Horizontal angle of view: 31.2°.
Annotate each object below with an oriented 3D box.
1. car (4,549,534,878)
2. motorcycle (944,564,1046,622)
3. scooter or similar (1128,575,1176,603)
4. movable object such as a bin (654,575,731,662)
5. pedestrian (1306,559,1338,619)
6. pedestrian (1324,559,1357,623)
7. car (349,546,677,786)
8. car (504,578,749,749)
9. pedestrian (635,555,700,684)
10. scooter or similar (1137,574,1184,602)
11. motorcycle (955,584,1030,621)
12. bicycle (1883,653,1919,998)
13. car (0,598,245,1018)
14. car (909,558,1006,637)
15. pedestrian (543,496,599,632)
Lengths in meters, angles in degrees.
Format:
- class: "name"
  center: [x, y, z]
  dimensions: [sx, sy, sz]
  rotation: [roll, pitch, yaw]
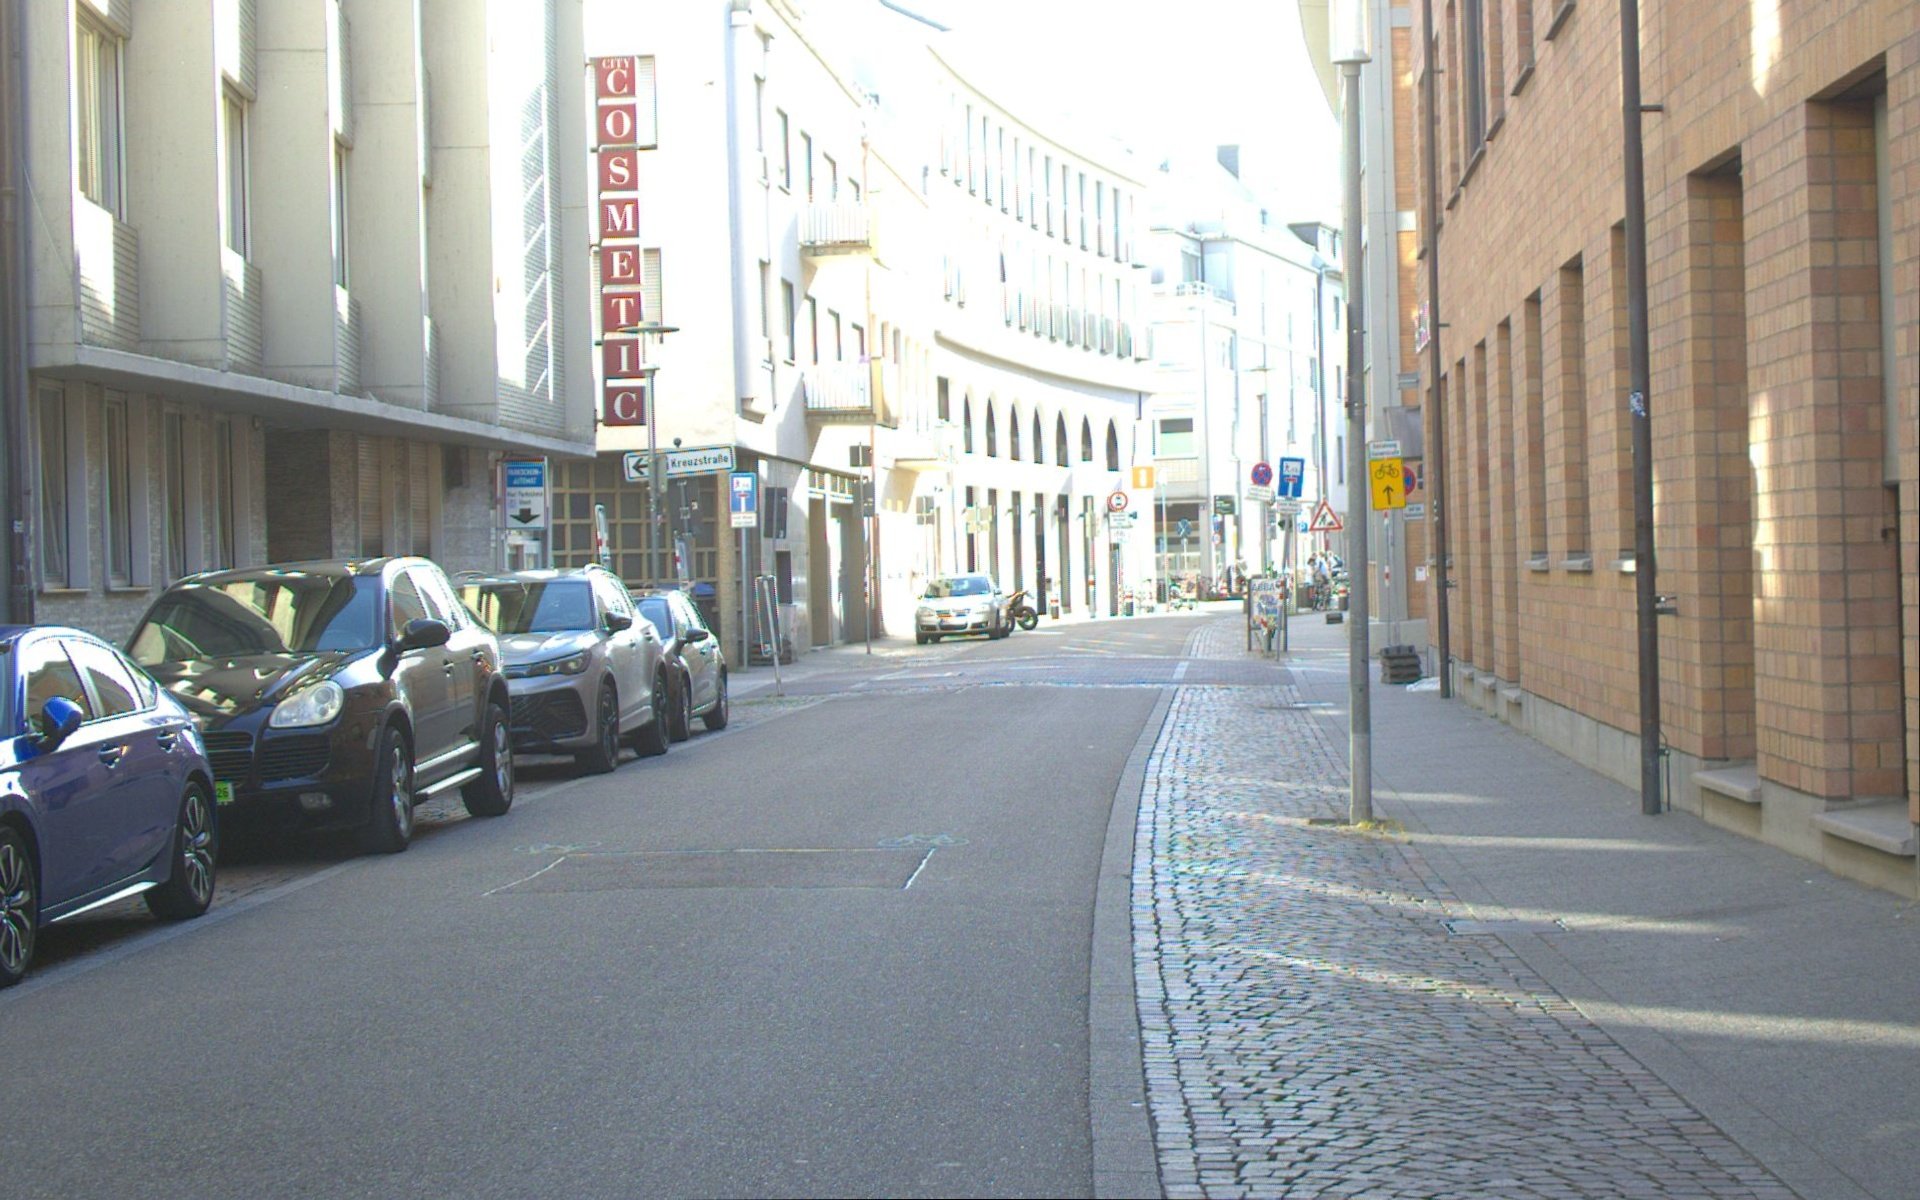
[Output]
- class: "car"
  center: [-3.953, 0.571, 20.517]
  dimensions: [1.890, 1.670, 4.553]
  rotation: [-2, 1, 4]
- class: "motorcycle"
  center: [0.870, -0.186, 84.938]
  dimensions: [2.391, 1.312, 0.862]
  rotation: [-3, 1, 5]
- class: "scooter or similar"
  center: [6.455, -0.377, 115.725]
  dimensions: [0.526, 0.925, 2.223]
  rotation: [0, 1, 35]
- class: "movable object such as a bin"
  center: [-4.431, 0.302, 56.932]
  dimensions: [0.931, 1.415, 0.884]
  rotation: [0, 0, -42]
- class: "pedestrian"
  center: [11.178, -0.333, 106.160]
  dimensions: [0.659, 1.862, 0.786]
  rotation: [0, 0, -26]
- class: "pedestrian"
  center: [11.157, -0.262, 100.768]
  dimensions: [0.659, 1.862, 0.761]
  rotation: [0, 0, -26]
- class: "car"
  center: [-3.536, 0.463, 28.003]
  dimensions: [1.890, 1.736, 4.390]
  rotation: [-2, 1, 2]
- class: "car"
  center: [-3.218, 0.577, 33.885]
  dimensions: [1.648, 1.455, 3.998]
  rotation: [-4, 0, 4]
- class: "pedestrian"
  center: [-3.723, 0.244, 43.768]
  dimensions: [0.645, 1.620, 0.457]
  rotation: [-2, 1, -37]
- class: "scooter or similar"
  center: [6.939, -0.428, 118.906]
  dimensions: [0.526, 0.925, 2.223]
  rotation: [0, 1, 35]
- class: "motorcycle"
  center: [0.772, 0.065, 80.841]
  dimensions: [1.692, 0.856, 0.594]
  rotation: [0, 0, 9]
- class: "bicycle"
  center: [3.332, 0.721, 10.151]
  dimensions: [0.549, 1.099, 1.982]
  rotation: [-5, 1, -1]
- class: "car"
  center: [-4.522, 0.825, 14.417]
  dimensions: [1.890, 1.525, 4.339]
  rotation: [-2, 1, 3]
- class: "car"
  center: [-0.031, -0.070, 73.437]
  dimensions: [1.737, 1.600, 3.532]
  rotation: [-1, 1, 5]
- class: "pedestrian"
  center: [-5.005, -0.460, 44.268]
  dimensions: [0.448, 1.732, 0.552]
  rotation: [-1, 1, 27]
